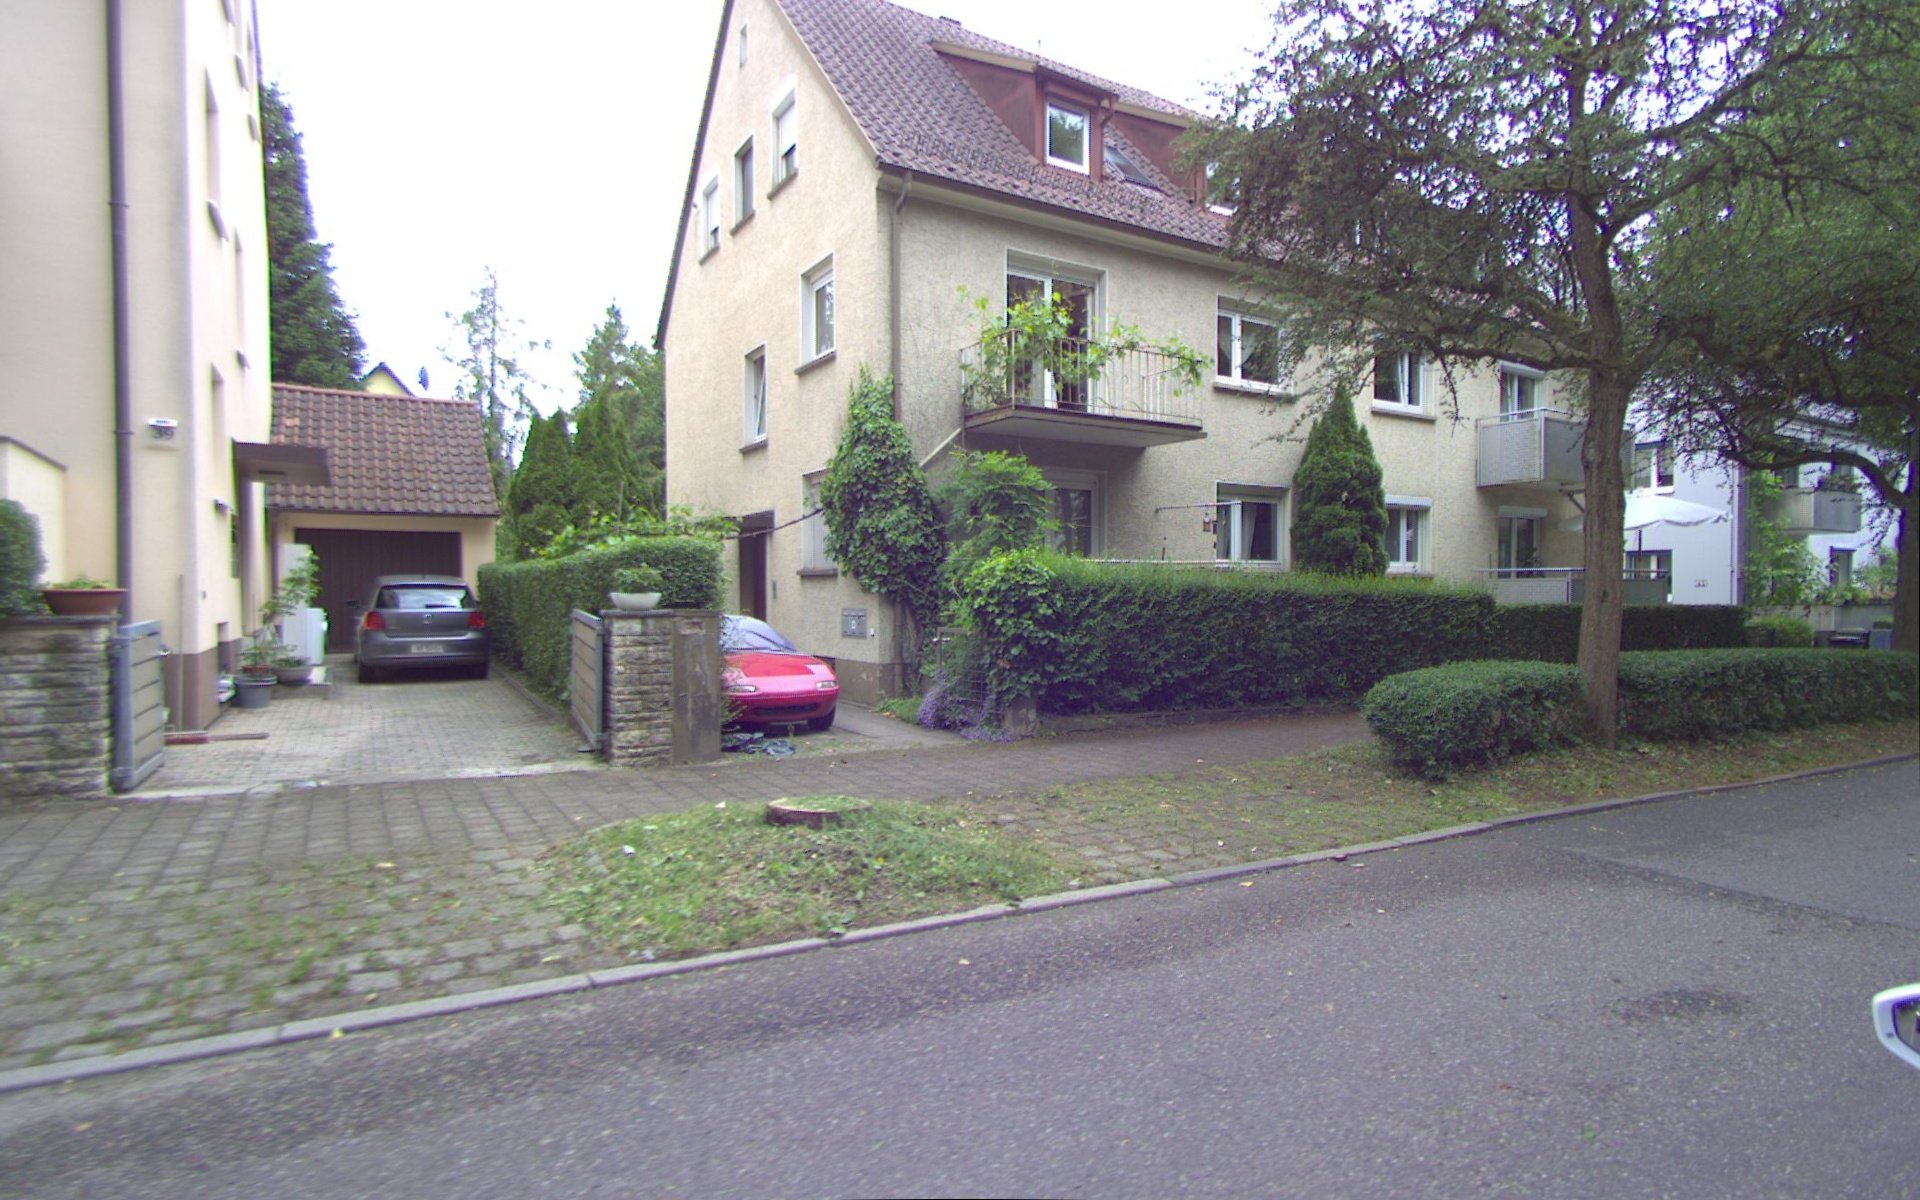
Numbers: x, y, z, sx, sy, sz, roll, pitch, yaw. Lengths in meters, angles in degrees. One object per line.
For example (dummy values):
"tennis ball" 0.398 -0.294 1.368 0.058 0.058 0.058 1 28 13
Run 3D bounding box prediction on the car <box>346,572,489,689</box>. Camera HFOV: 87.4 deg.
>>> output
"car" -8.319 0.369 15.273 1.679 1.461 3.874 1 2 -31

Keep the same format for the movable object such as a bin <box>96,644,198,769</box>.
"movable object such as a bin" -6.417 0.819 7.950 0.564 0.924 0.485 1 -1 -33

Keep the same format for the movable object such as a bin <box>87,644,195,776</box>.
"movable object such as a bin" -6.118 0.801 7.530 0.564 0.924 0.485 1 -1 -33

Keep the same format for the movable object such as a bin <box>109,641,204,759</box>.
"movable object such as a bin" -6.701 0.815 8.400 0.564 0.924 0.485 1 -1 -33

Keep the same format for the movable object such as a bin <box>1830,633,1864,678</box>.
"movable object such as a bin" 18.825 1.175 21.314 0.503 0.927 0.453 1 -1 -36

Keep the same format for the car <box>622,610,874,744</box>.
"car" -2.638 0.768 11.768 1.679 1.215 3.966 1 0 -31
